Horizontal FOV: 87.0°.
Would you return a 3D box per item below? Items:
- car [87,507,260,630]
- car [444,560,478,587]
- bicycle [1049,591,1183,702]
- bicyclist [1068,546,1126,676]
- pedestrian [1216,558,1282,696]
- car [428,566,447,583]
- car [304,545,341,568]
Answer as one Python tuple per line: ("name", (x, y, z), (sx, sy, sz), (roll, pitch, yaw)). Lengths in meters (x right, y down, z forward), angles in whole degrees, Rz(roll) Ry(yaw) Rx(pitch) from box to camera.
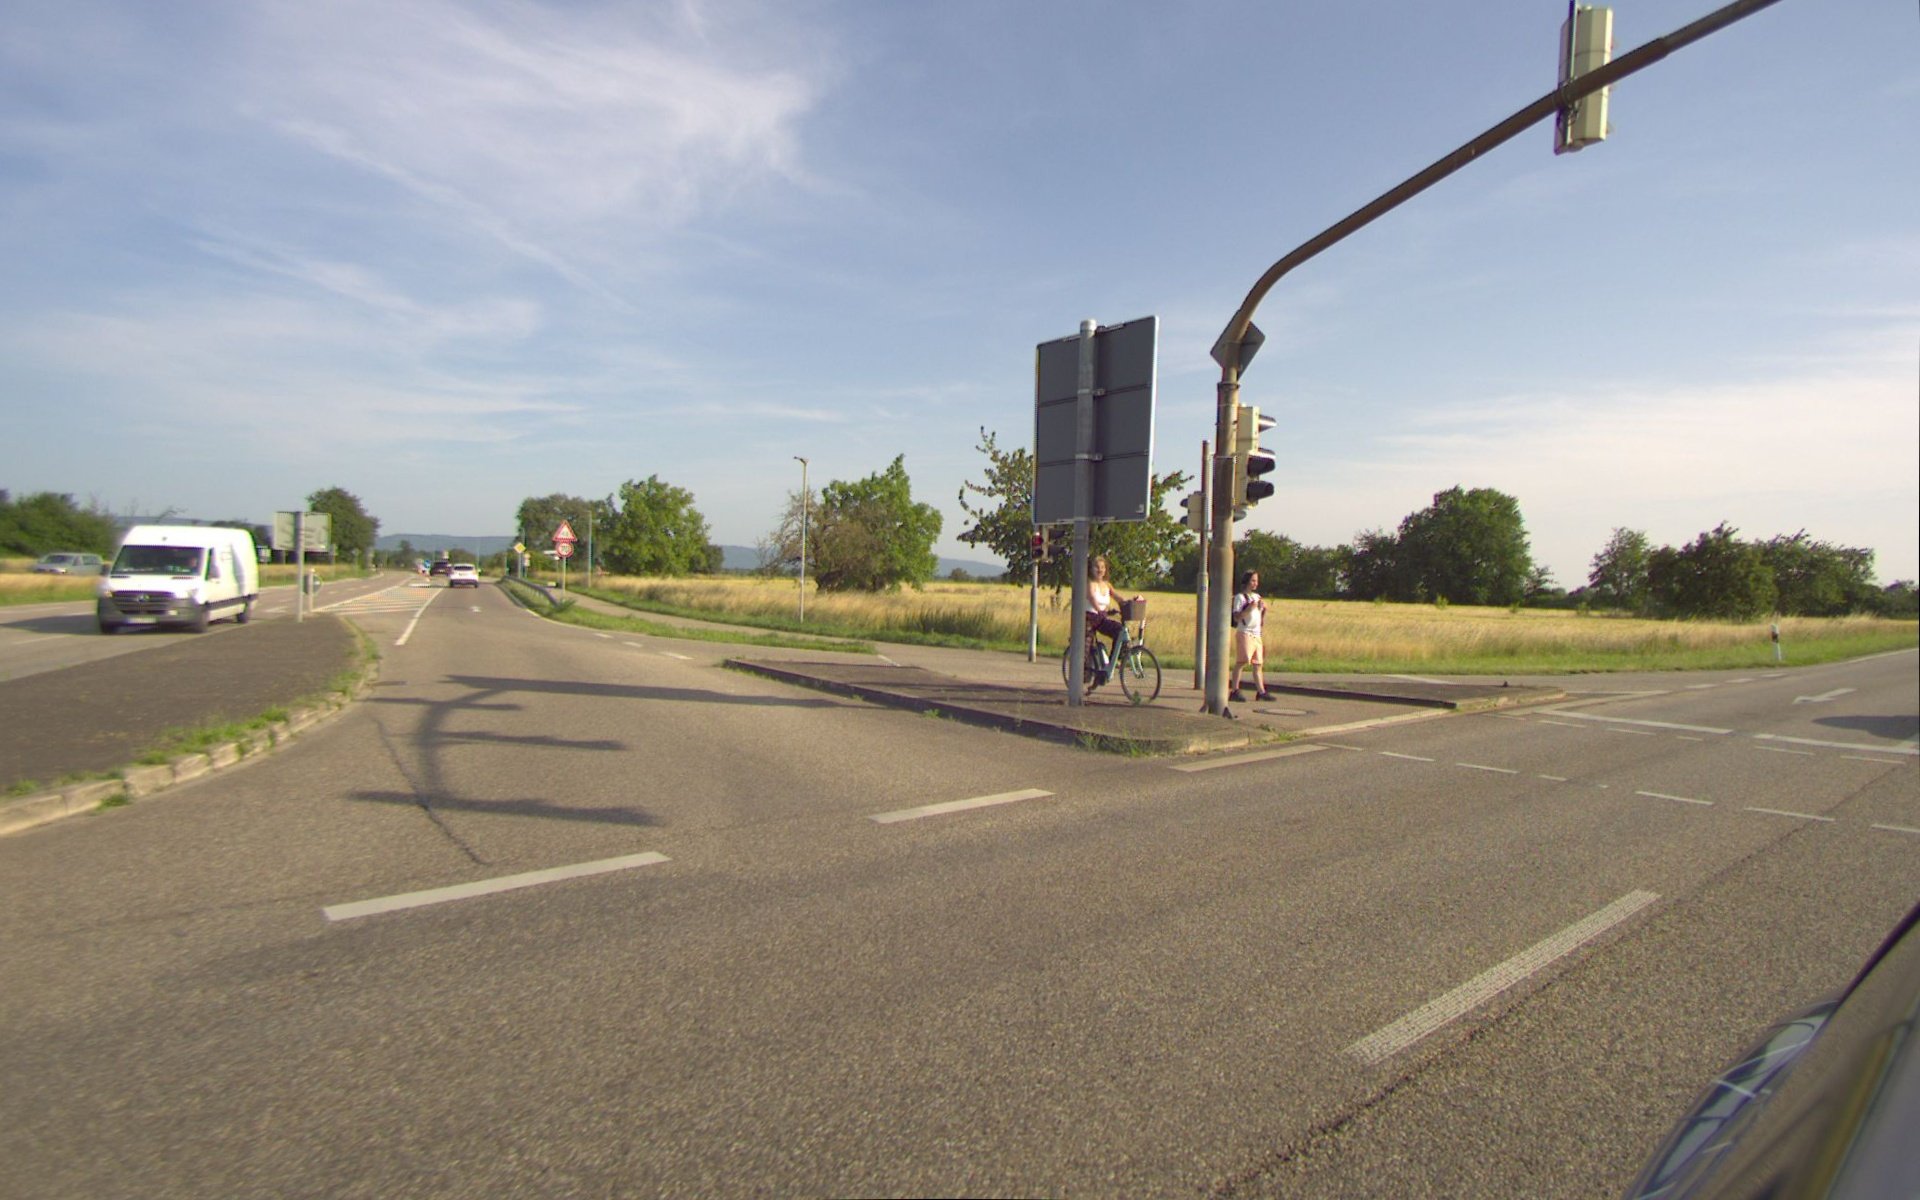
("car", (-19.914, -0.809, 26.035), (2.049, 2.702, 7.229), (0, 2, -26))
("car", (-33.157, -1.757, 67.308), (1.698, 1.683, 4.008), (0, 0, -22))
("bicycle", (1.936, 0.545, 12.828), (0.519, 1.305, 1.858), (0, 0, -37))
("bicyclist", (1.763, 0.134, 13.048), (0.494, 1.633, 0.560), (0, 0, -34))
("pedestrian", (3.852, 0.349, 13.491), (0.586, 1.773, 0.624), (0, 0, -30))
("car", (-55.079, -2.640, 106.758), (1.727, 1.739, 3.770), (0, 0, -27))
("car", (-53.448, -3.653, 84.914), (1.808, 1.776, 4.008), (0, 0, -20))
